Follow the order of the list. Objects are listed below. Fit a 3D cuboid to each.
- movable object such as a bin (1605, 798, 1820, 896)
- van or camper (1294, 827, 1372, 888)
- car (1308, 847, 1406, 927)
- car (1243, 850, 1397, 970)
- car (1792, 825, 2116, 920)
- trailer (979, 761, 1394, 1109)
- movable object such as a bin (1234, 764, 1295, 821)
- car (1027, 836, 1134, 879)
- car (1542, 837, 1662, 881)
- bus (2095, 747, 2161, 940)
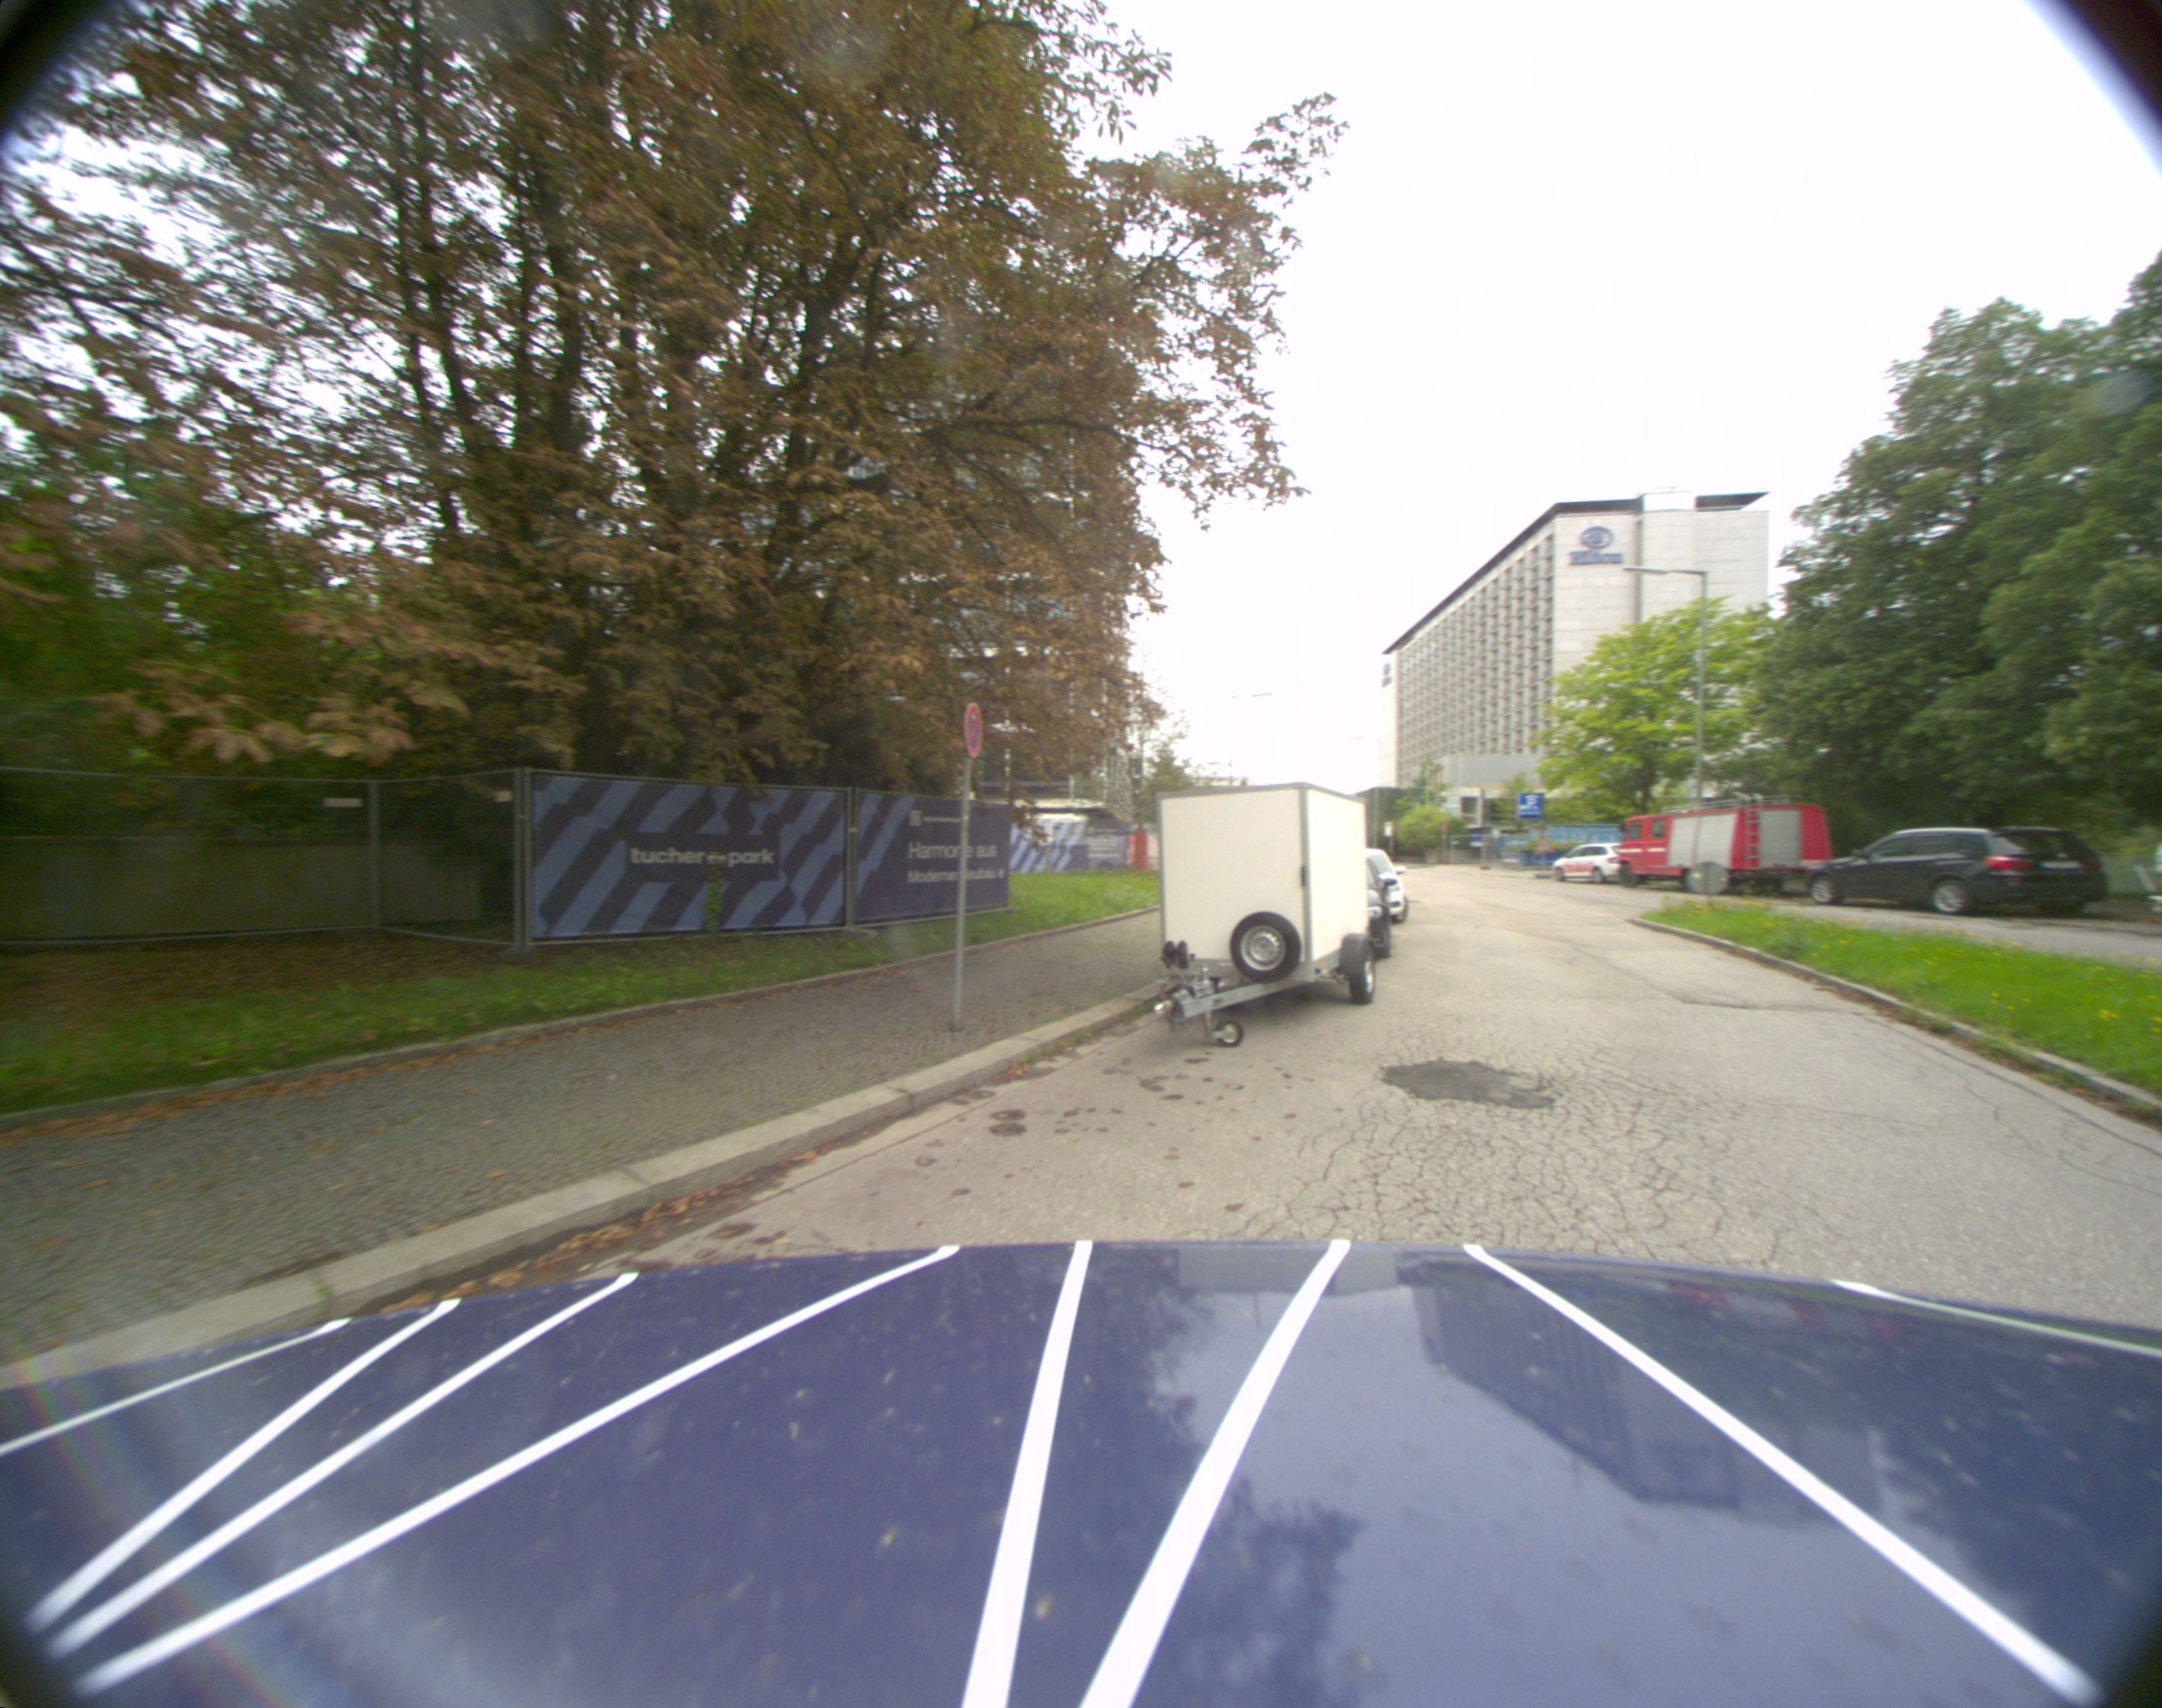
[{"bbox_3d":[18.079,-0.226,22.309,2.107,2.444,6.191,0,1,11],"label":"movable object such as a bin"},{"bbox_3d":[9.038,0.054,27.648,1.997,2.002,5.380,0,1,11],"label":"van or camper"},{"bbox_3d":[5.952,0.606,16.639,1.768,1.477,4.226,0,1,18],"label":"car"},{"bbox_3d":[3.861,0.684,11.777,1.873,1.429,4.335,1,1,22],"label":"car"},{"bbox_3d":[17.161,0.281,15.367,1.779,1.640,4.462,0,1,8],"label":"car"},{"bbox_3d":[1.374,0.409,6.881,1.809,2.002,4.843,1,2,33],"label":"trailer"},{"bbox_3d":[13.484,-4.442,56.609,3.247,3.696,9.010,0,1,6],"label":"movable object such as a bin"},{"bbox_3d":[0.039,0.148,35.665,4.770,1.911,2.001,-1,1,7],"label":"car"},{"bbox_3d":[19.490,0.145,28.687,1.780,1.541,4.257,0,1,4],"label":"car"},{"bbox_3d":[15.600,-0.110,8.328,2.318,2.683,5.740,0,1,16],"label":"bus"}]
